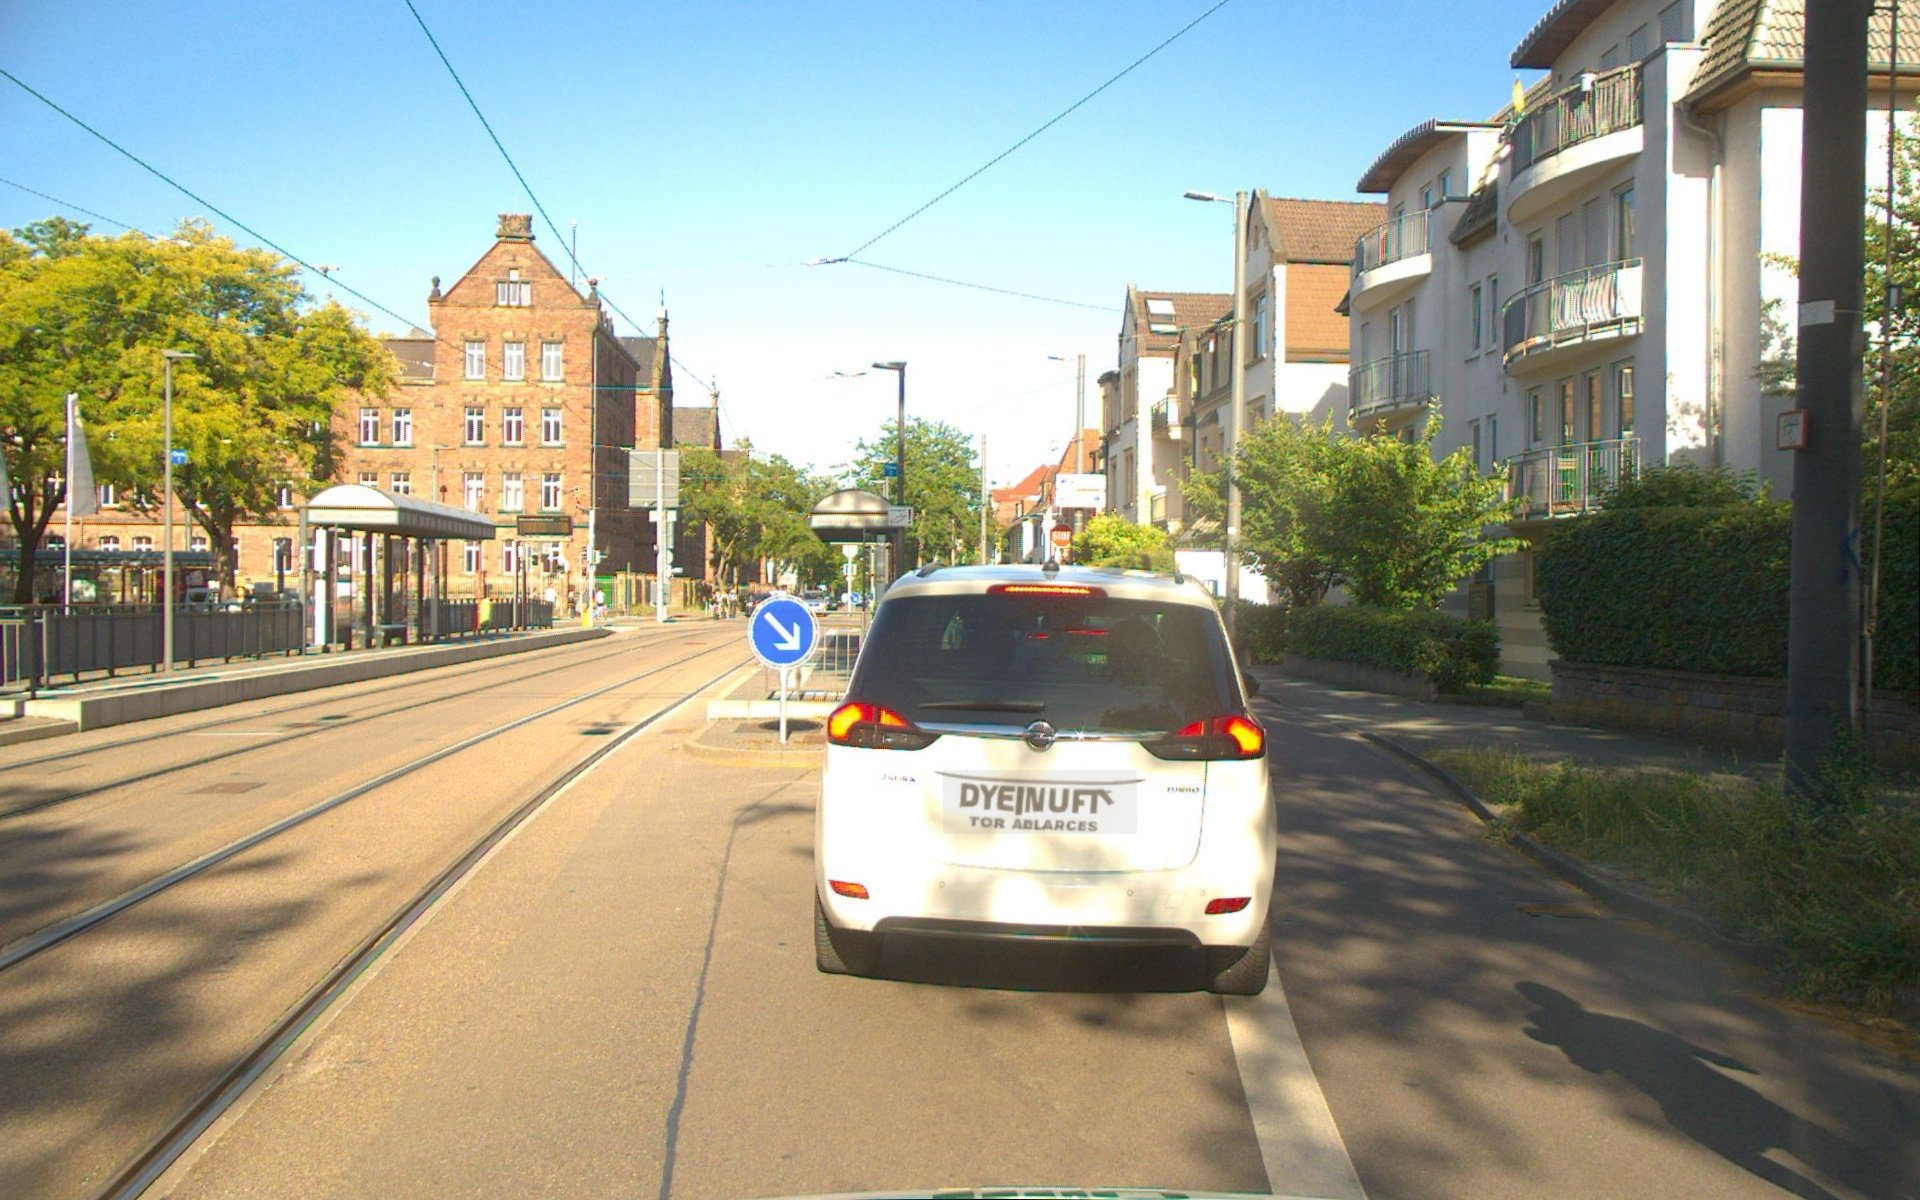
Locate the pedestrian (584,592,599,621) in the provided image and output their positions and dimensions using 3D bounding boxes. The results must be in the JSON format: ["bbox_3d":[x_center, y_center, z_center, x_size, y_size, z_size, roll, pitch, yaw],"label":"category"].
[{"bbox_3d":[-21.172,0.378,95.003,0.640,1.640,0.711,1,-1,1],"label":"pedestrian"}]

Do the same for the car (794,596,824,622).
[{"bbox_3d":[-10.491,0.602,115.041,1.711,1.746,3.999,1,0,-1],"label":"car"}]

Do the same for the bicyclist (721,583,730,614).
[{"bbox_3d":[-15.413,-0.103,108.742,0.488,2.049,0.572,0,0,-1],"label":"bicyclist"}]

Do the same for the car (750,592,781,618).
[{"bbox_3d":[-13.327,0.363,113.496,1.711,1.746,3.999,1,0,-1],"label":"car"}]

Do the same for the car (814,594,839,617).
[{"bbox_3d":[-10.379,0.447,128.897,1.711,1.746,3.999,1,0,-1],"label":"car"}]

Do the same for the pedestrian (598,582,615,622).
[{"bbox_3d":[-18.101,0.097,84.689,0.782,2.049,0.717,1,-1,-18],"label":"pedestrian"}]

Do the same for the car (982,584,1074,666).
[{"bbox_3d":[1.433,0.504,36.119,1.868,1.690,4.000,0,0,0],"label":"car"}]

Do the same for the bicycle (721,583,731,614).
[{"bbox_3d":[-15.409,-0.103,108.750,0.477,2.049,1.405,0,0,-1],"label":"bicycle"}]

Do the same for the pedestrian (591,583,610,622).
[{"bbox_3d":[-19.274,0.121,88.664,0.789,2.049,0.711,1,-1,-38],"label":"pedestrian"}]

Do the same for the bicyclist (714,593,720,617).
[{"bbox_3d":[-15.125,0.297,102.799,0.307,1.469,0.384,0,0,-1],"label":"bicyclist"}]

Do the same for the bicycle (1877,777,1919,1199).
[{"bbox_3d":[2.525,0.989,2.998,0.611,1.116,1.973,0,0,-1],"label":"bicycle"}]

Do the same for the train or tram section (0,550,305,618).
[{"bbox_3d":[-40.767,-0.745,79.416,17.048,3.210,3.343,0,0,-6],"label":"train or tram section"}]

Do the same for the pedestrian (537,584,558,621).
[{"bbox_3d":[-22.125,0.124,88.671,0.791,1.934,0.744,1,-1,13],"label":"pedestrian"}]

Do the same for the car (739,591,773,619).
[{"bbox_3d":[-13.181,0.304,106.831,1.711,1.746,3.999,1,0,-1],"label":"car"}]

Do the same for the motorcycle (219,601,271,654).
[{"bbox_3d":[-15.558,0.582,36.020,0.598,1.112,1.852,0,0,-10],"label":"motorcycle"}]

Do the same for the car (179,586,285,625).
[{"bbox_3d":[-32.464,0.234,73.815,3.908,1.658,1.817,1,0,-4],"label":"car"}]

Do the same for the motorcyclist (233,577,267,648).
[{"bbox_3d":[-15.615,0.274,36.373,0.595,1.542,0.465,0,0,-10],"label":"motorcyclist"}]

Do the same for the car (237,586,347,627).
[{"bbox_3d":[-28.132,0.279,69.742,3.908,1.658,1.817,1,0,-4],"label":"car"}]

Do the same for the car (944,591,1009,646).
[{"bbox_3d":[0.488,0.556,53.081,1.869,1.690,3.998,0,0,-2],"label":"car"}]

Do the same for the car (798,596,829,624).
[{"bbox_3d":[-9.473,0.625,107.200,1.711,1.746,3.999,1,0,-1],"label":"car"}]

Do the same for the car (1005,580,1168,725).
[{"bbox_3d":[1.668,0.588,21.007,1.866,1.653,4.003,0,0,6],"label":"car"}]

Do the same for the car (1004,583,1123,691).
[{"bbox_3d":[1.776,0.577,28.286,1.867,1.690,4.002,0,0,4],"label":"car"}]

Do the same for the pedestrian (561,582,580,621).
[{"bbox_3d":[-20.728,0.093,88.020,0.788,2.049,0.712,1,-1,-34],"label":"pedestrian"}]

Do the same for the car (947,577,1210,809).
[{"bbox_3d":[1.057,0.648,13.774,1.866,1.625,4.003,0,0,6],"label":"car"}]

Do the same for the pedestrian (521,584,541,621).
[{"bbox_3d":[-23.175,0.137,89.366,0.791,1.934,0.744,1,-1,15],"label":"pedestrian"}]

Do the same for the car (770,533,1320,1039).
[{"bbox_3d":[0.496,0.613,7.631,1.866,1.690,4.003,0,0,6],"label":"car"}]

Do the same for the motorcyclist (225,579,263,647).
[{"bbox_3d":[-15.531,0.279,35.894,0.671,1.466,0.445,0,0,-10],"label":"motorcyclist"}]
